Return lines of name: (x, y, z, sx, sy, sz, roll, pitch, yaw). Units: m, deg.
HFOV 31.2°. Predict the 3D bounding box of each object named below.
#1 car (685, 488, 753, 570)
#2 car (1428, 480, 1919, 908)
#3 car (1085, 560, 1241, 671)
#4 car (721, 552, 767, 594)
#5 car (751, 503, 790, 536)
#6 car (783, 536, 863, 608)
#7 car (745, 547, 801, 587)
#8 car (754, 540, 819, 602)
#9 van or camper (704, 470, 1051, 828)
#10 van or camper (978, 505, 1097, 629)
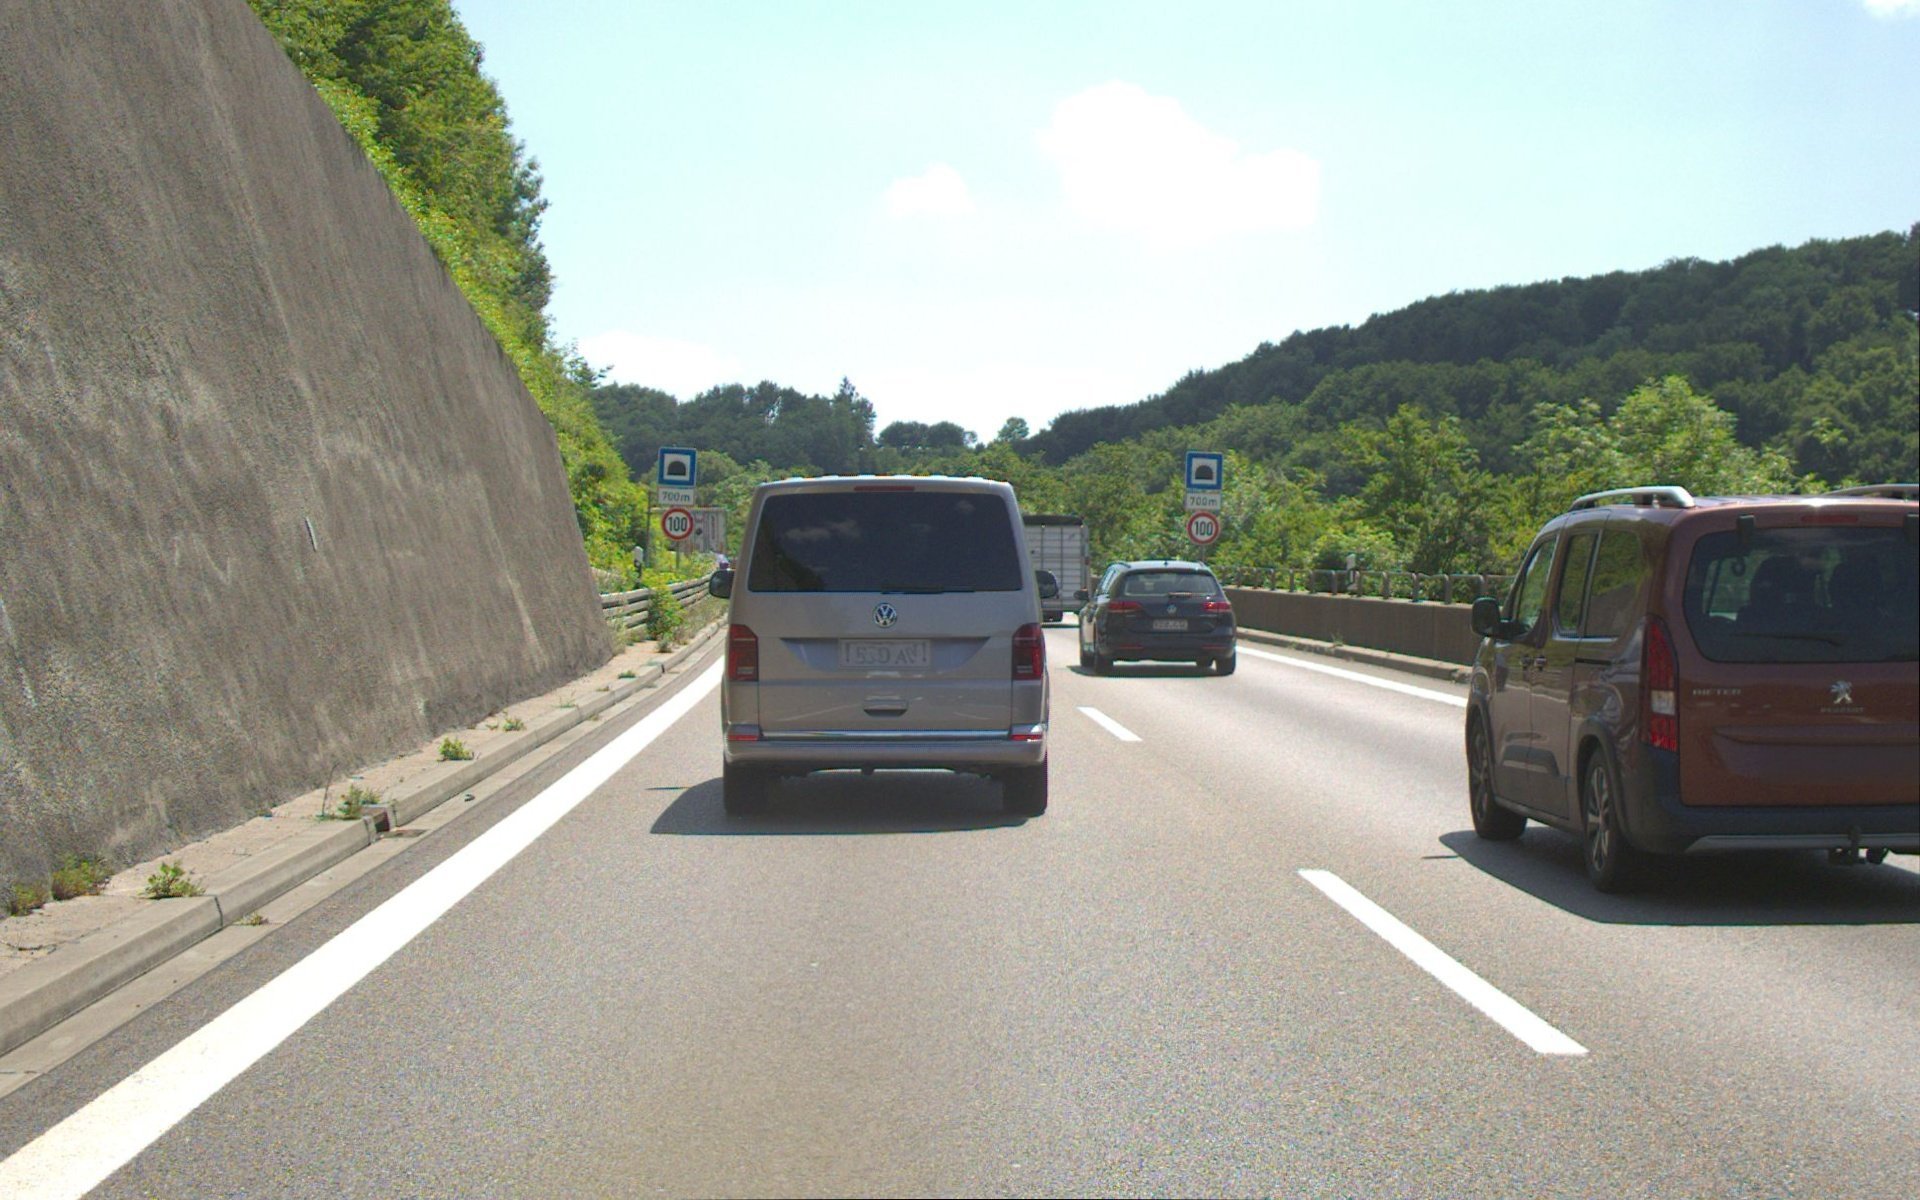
car: (-14.784, -4.307, 210.309, 4.043, 4.855, 10.111, 0, 1, -4)
car: (3.616, 0.379, 16.766, 1.833, 1.778, 4.676, -1, 0, -2)
car: (2.609, 0.176, 44.880, 1.768, 1.371, 3.593, 0, 1, -1)
car: (-10.728, -1.319, 170.993, 1.993, 2.007, 4.000, -1, 0, 0)
car: (-11.599, -4.930, 210.425, 1.993, 2.007, 4.001, 0, 1, -9)
car: (-3.561, -0.738, 88.866, 1.993, 1.811, 4.001, 0, 1, -4)
car: (-7.652, -1.352, 140.319, 2.142, 1.601, 5.079, 0, 1, -4)
car: (-5.464, -0.923, 108.106, 1.993, 1.908, 4.001, 0, 1, -3)
van or camper: (-0.430, 0.206, 21.007, 1.875, 1.943, 4.294, -1, 2, 1)
van or camper: (1.633, -0.718, 74.138, 2.263, 2.542, 4.737, -1, 1, -2)
